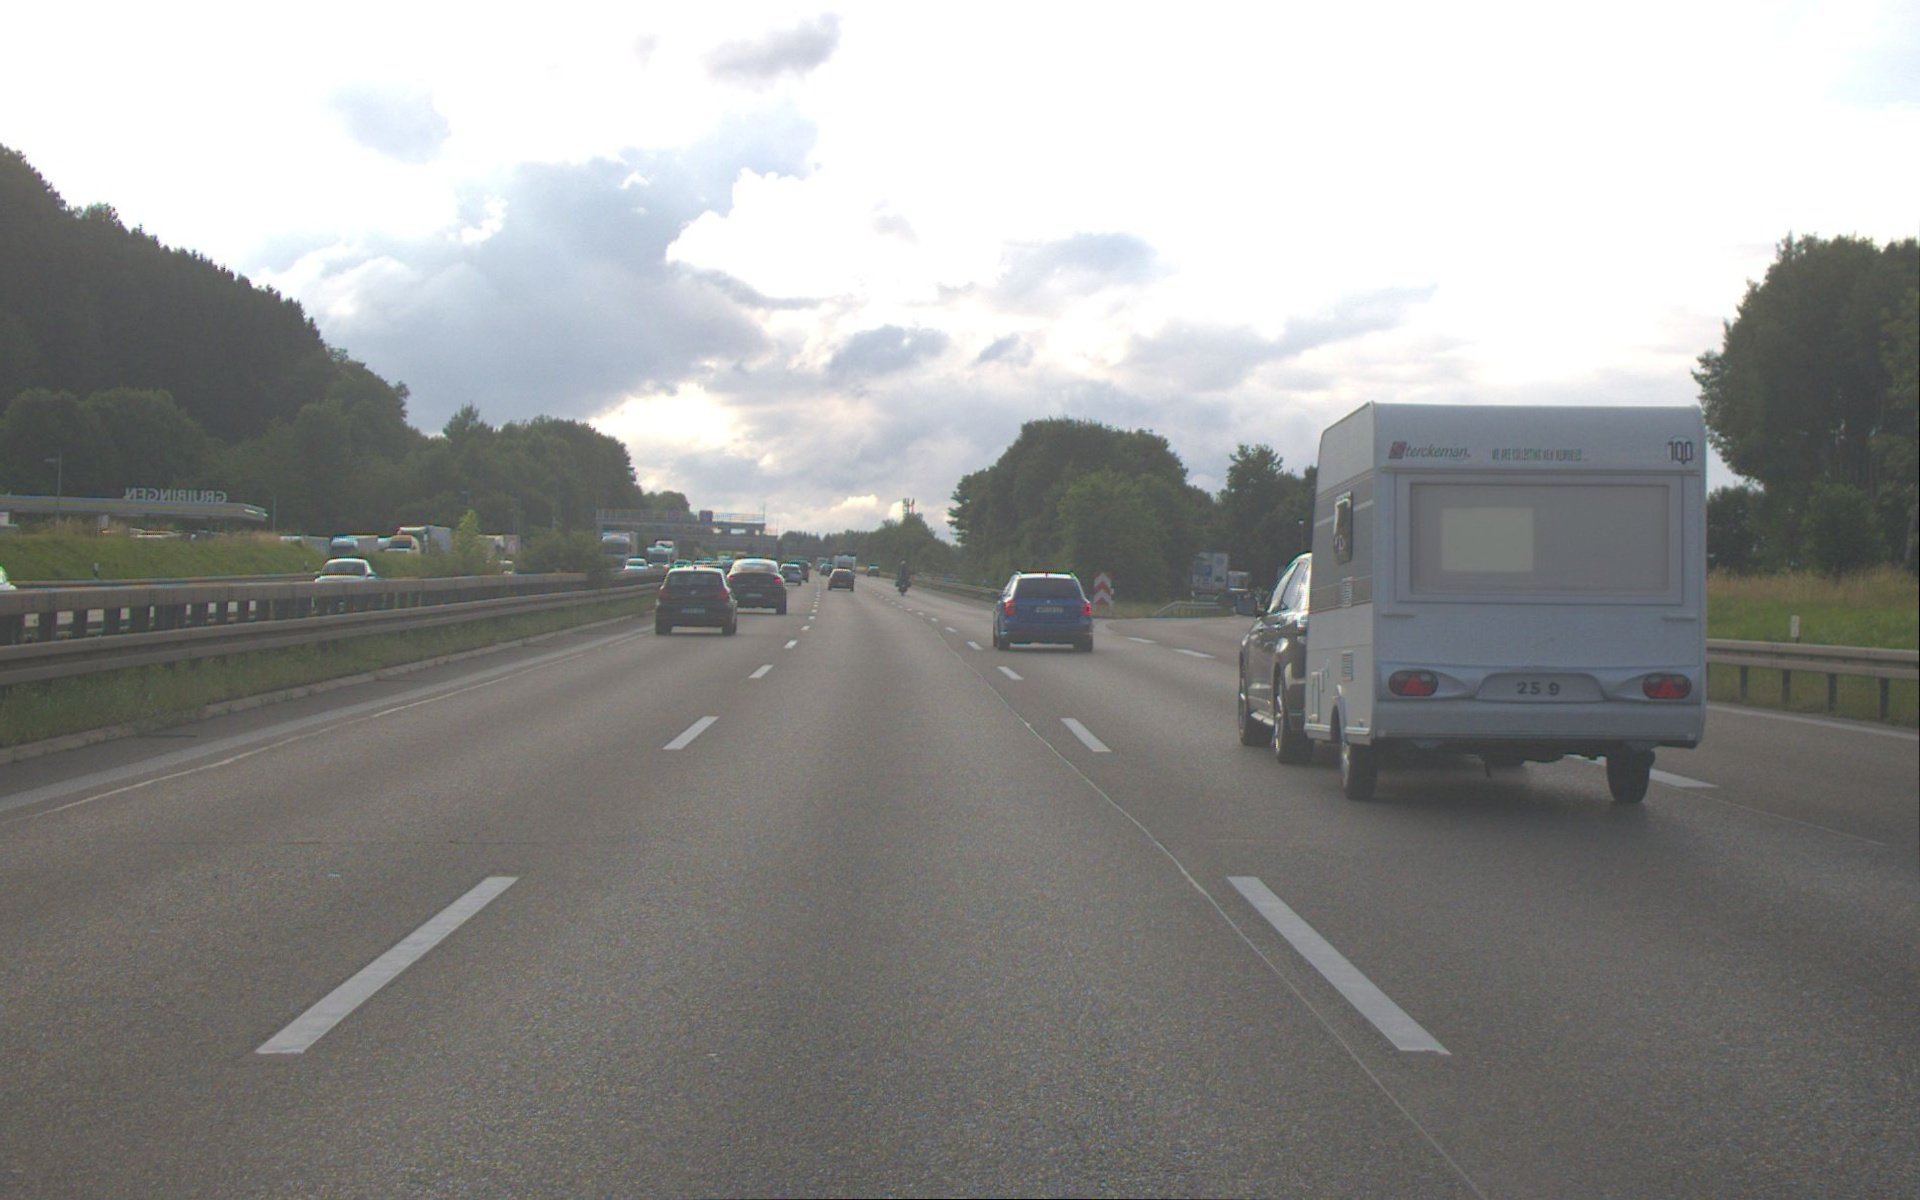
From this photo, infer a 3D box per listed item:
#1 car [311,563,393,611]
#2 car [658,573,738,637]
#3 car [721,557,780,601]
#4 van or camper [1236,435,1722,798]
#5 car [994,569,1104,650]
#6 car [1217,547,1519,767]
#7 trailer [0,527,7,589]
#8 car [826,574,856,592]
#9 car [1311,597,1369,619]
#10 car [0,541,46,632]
[{"bbox_3d":[-19.027,-0.431,107.712,1.951,1.443,3.873,-1,1,-2],"label":"car"},{"bbox_3d":[-5.681,0.091,74.835,1.538,1.343,3.677,1,0,-2],"label":"car"},{"bbox_3d":[-6.601,-0.666,108.533,1.565,1.376,4.000,0,1,1],"label":"car"},{"bbox_3d":[3.428,0.129,23.963,2.548,2.232,5.329,0,-1,0],"label":"van or camper"},{"bbox_3d":[1.620,0.180,63.732,1.766,1.428,4.000,-1,0,-2],"label":"car"},{"bbox_3d":[3.276,0.410,28.415,1.786,1.647,4.482,1,1,-2],"label":"car"},{"bbox_3d":[-45.213,-2.027,152.933,2.579,2.844,11.380,1,-1,-1],"label":"trailer"},{"bbox_3d":[-8.104,-1.170,233.919,1.750,1.218,4.001,0,0,-6],"label":"car"},{"bbox_3d":[28.439,0.602,257.382,4.297,1.550,1.989,2,-1,-42],"label":"car"},{"bbox_3d":[-16.472,-0.212,56.538,1.951,1.470,3.873,-1,1,-2],"label":"car"}]
